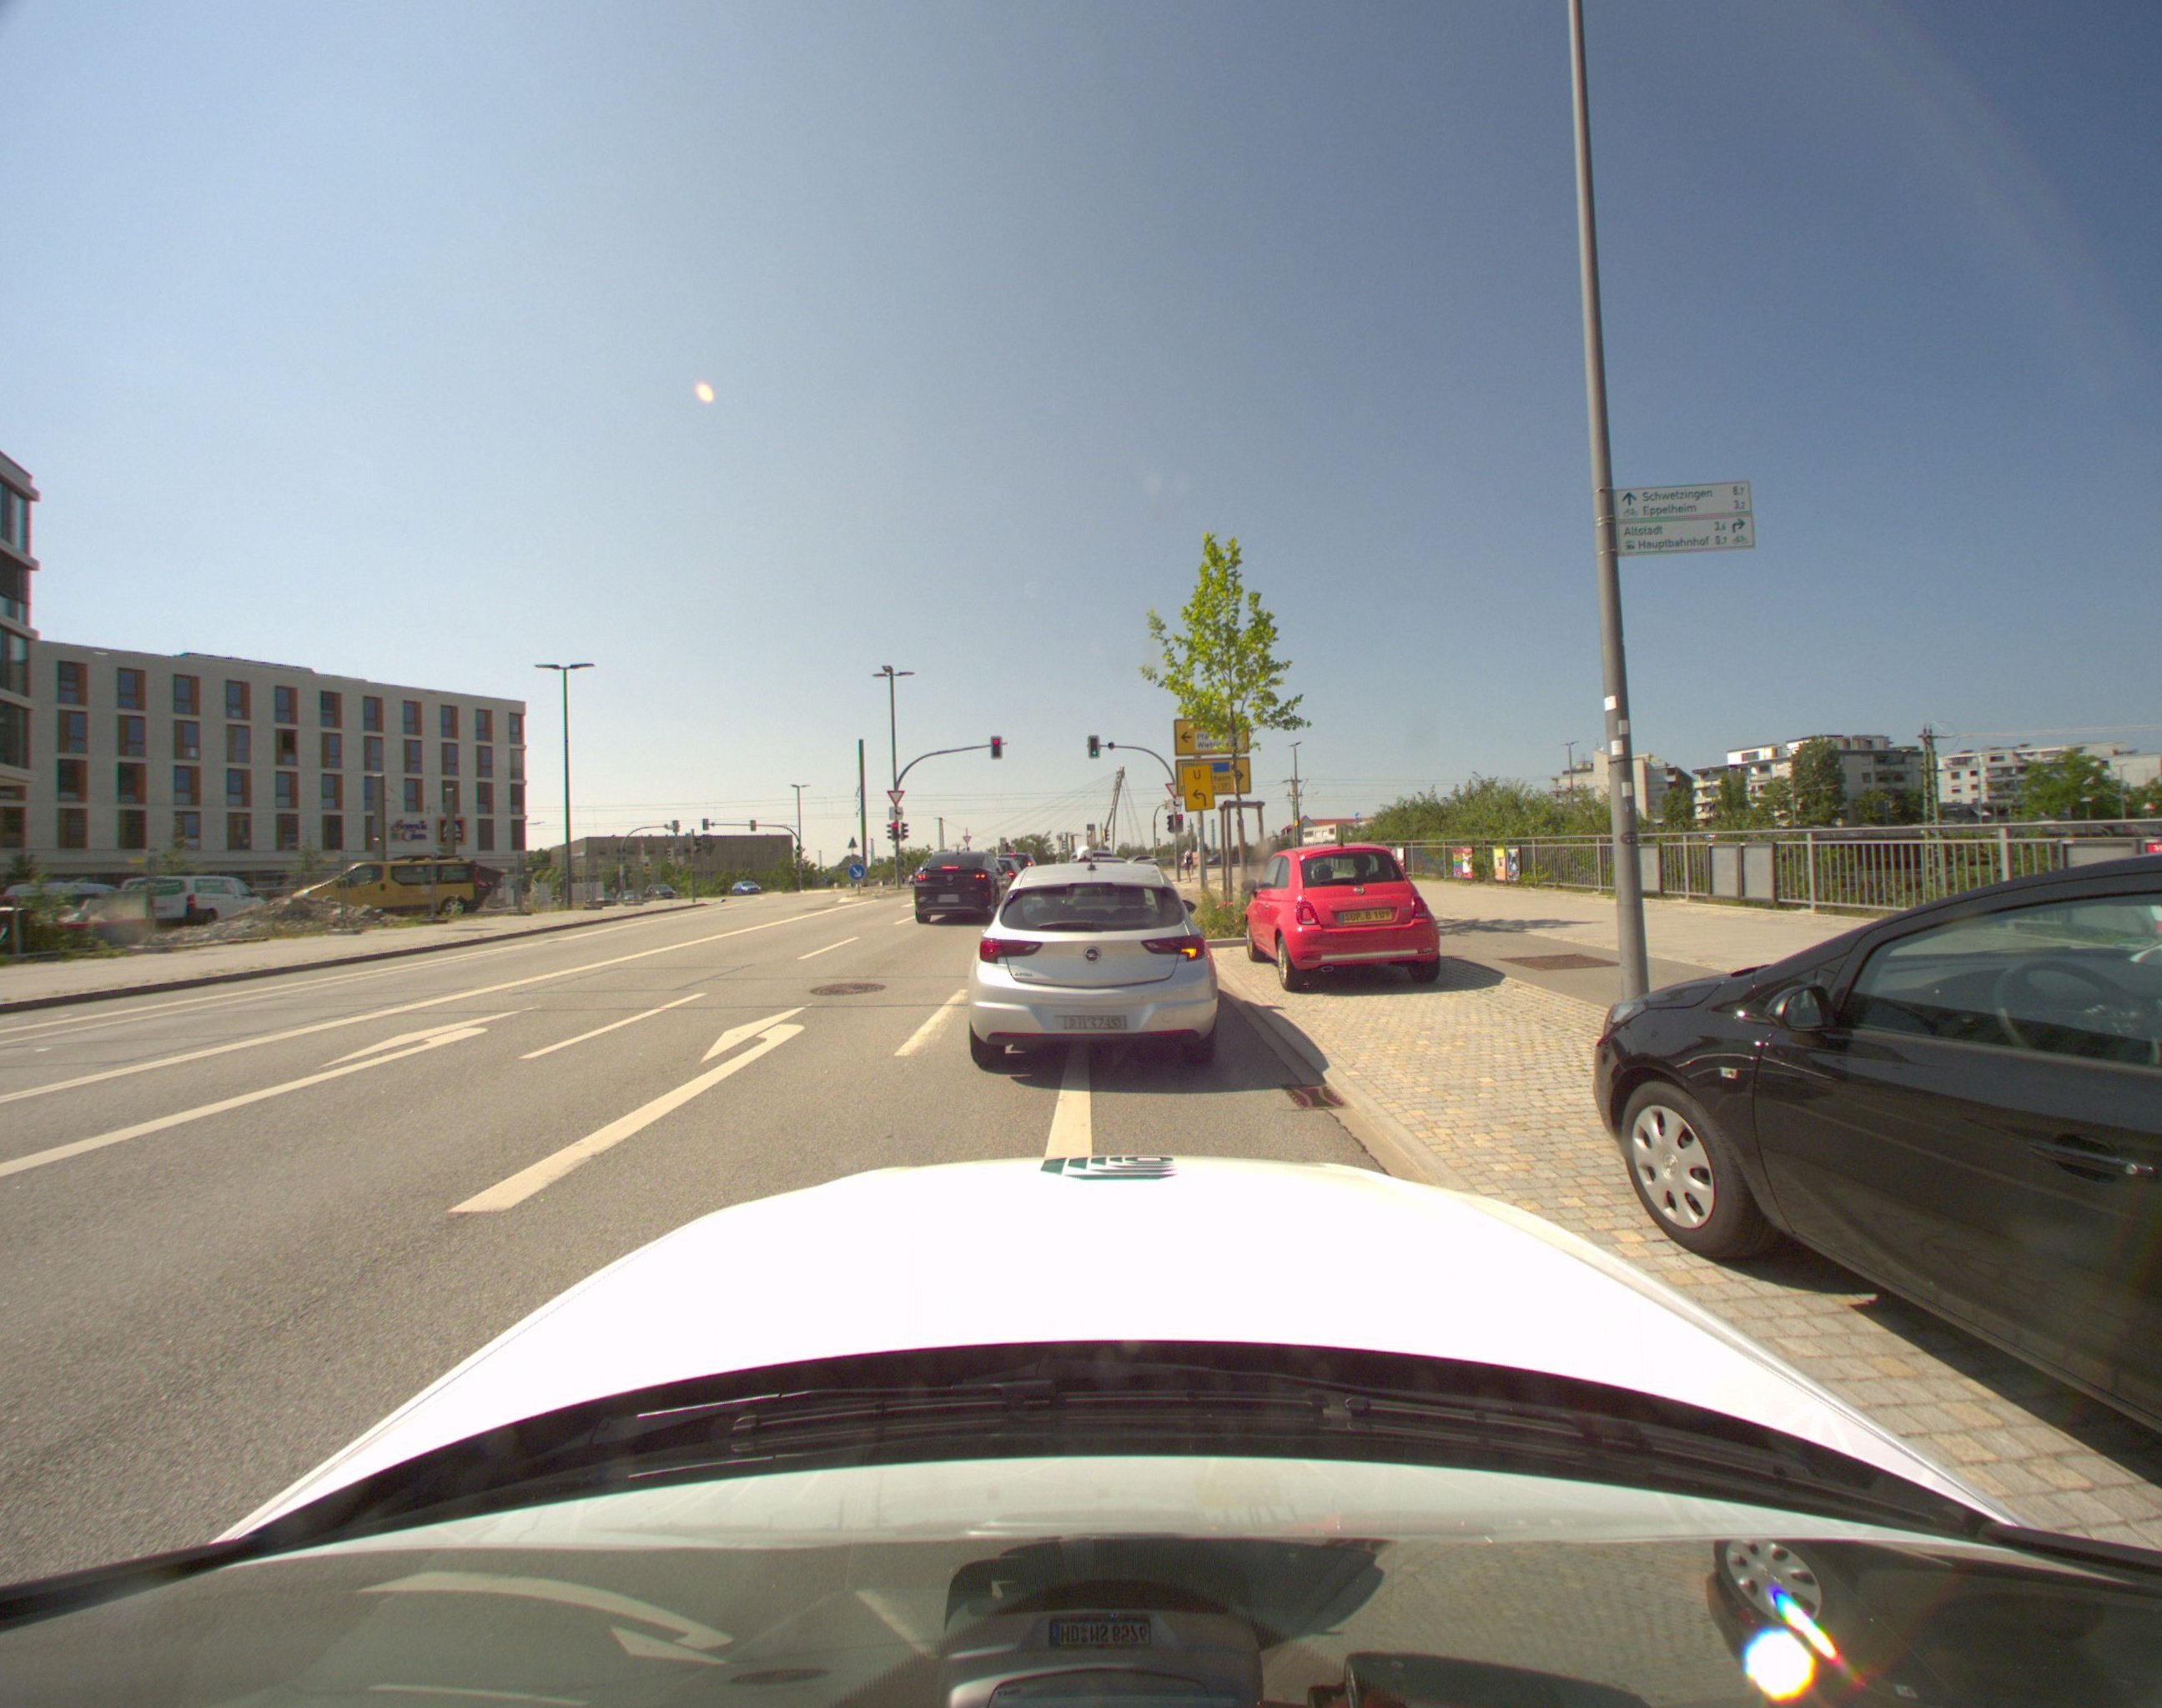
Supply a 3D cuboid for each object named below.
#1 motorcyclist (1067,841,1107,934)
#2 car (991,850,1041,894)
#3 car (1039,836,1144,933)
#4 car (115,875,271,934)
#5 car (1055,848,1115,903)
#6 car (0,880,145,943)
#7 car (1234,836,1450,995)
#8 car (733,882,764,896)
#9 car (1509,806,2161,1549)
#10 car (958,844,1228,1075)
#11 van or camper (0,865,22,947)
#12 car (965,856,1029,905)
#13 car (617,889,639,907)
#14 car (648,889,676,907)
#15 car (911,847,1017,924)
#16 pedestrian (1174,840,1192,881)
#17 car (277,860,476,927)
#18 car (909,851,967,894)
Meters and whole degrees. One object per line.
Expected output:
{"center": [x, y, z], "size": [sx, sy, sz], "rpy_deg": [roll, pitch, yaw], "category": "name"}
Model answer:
{"center": [0.102, 0.509, 12.590], "size": [0.579, 1.389, 0.707], "rpy_deg": [0, -1, 2], "category": "motorcyclist"}
{"center": [-2.493, 0.685, 31.829], "size": [1.644, 1.615, 3.819], "rpy_deg": [0, -1, 0], "category": "car"}
{"center": [0.271, 0.563, 17.724], "size": [1.986, 1.820, 4.404], "rpy_deg": [0, 0, 2], "category": "car"}
{"center": [-31.035, 1.690, 28.685], "size": [1.873, 1.774, 4.619], "rpy_deg": [0, -1, -22], "category": "car"}
{"center": [0.201, 0.605, 25.497], "size": [1.717, 1.563, 4.002], "rpy_deg": [0, 1, 2], "category": "car"}
{"center": [-33.703, 1.836, 27.222], "size": [1.794, 1.857, 3.818], "rpy_deg": [0, -1, -26], "category": "car"}
{"center": [2.920, 0.608, 9.822], "size": [1.603, 1.496, 3.355], "rpy_deg": [-4, 0, 3], "category": "car"}
{"center": [-33.154, 3.501, 81.086], "size": [1.831, 1.331, 3.954], "rpy_deg": [0, -2, -38], "category": "car"}
{"center": [2.885, 0.590, 1.945], "size": [1.654, 1.426, 4.001], "rpy_deg": [-3, -1, 1], "category": "car"}
{"center": [0.059, 0.693, 7.265], "size": [1.738, 1.478, 3.998], "rpy_deg": [0, -1, -1], "category": "car"}
{"center": [-36.463, 1.717, 25.311], "size": [2.318, 2.735, 4.944], "rpy_deg": [0, -1, -26], "category": "van or camper"}
{"center": [-2.605, 0.788, 25.921], "size": [1.569, 1.434, 3.786], "rpy_deg": [0, -1, 1], "category": "car"}
{"center": [-45.526, 4.426, 81.854], "size": [1.578, 1.587, 3.441], "rpy_deg": [0, -1, -35], "category": "car"}
{"center": [-38.537, 3.992, 74.886], "size": [1.686, 1.476, 3.368], "rpy_deg": [-2, 0, -37], "category": "car"}
{"center": [-2.679, 0.694, 19.660], "size": [1.795, 1.641, 4.367], "rpy_deg": [0, -1, 2], "category": "car"}
{"center": [4.673, 0.313, 37.391], "size": [0.645, 1.836, 0.798], "rpy_deg": [-3, -1, 0], "category": "pedestrian"}
{"center": [-22.710, 1.191, 26.410], "size": [1.964, 1.962, 4.655], "rpy_deg": [-1, -1, 40], "category": "car"}
{"center": [-5.413, 0.691, 31.265], "size": [1.592, 1.547, 3.761], "rpy_deg": [0, -1, 0], "category": "car"}
